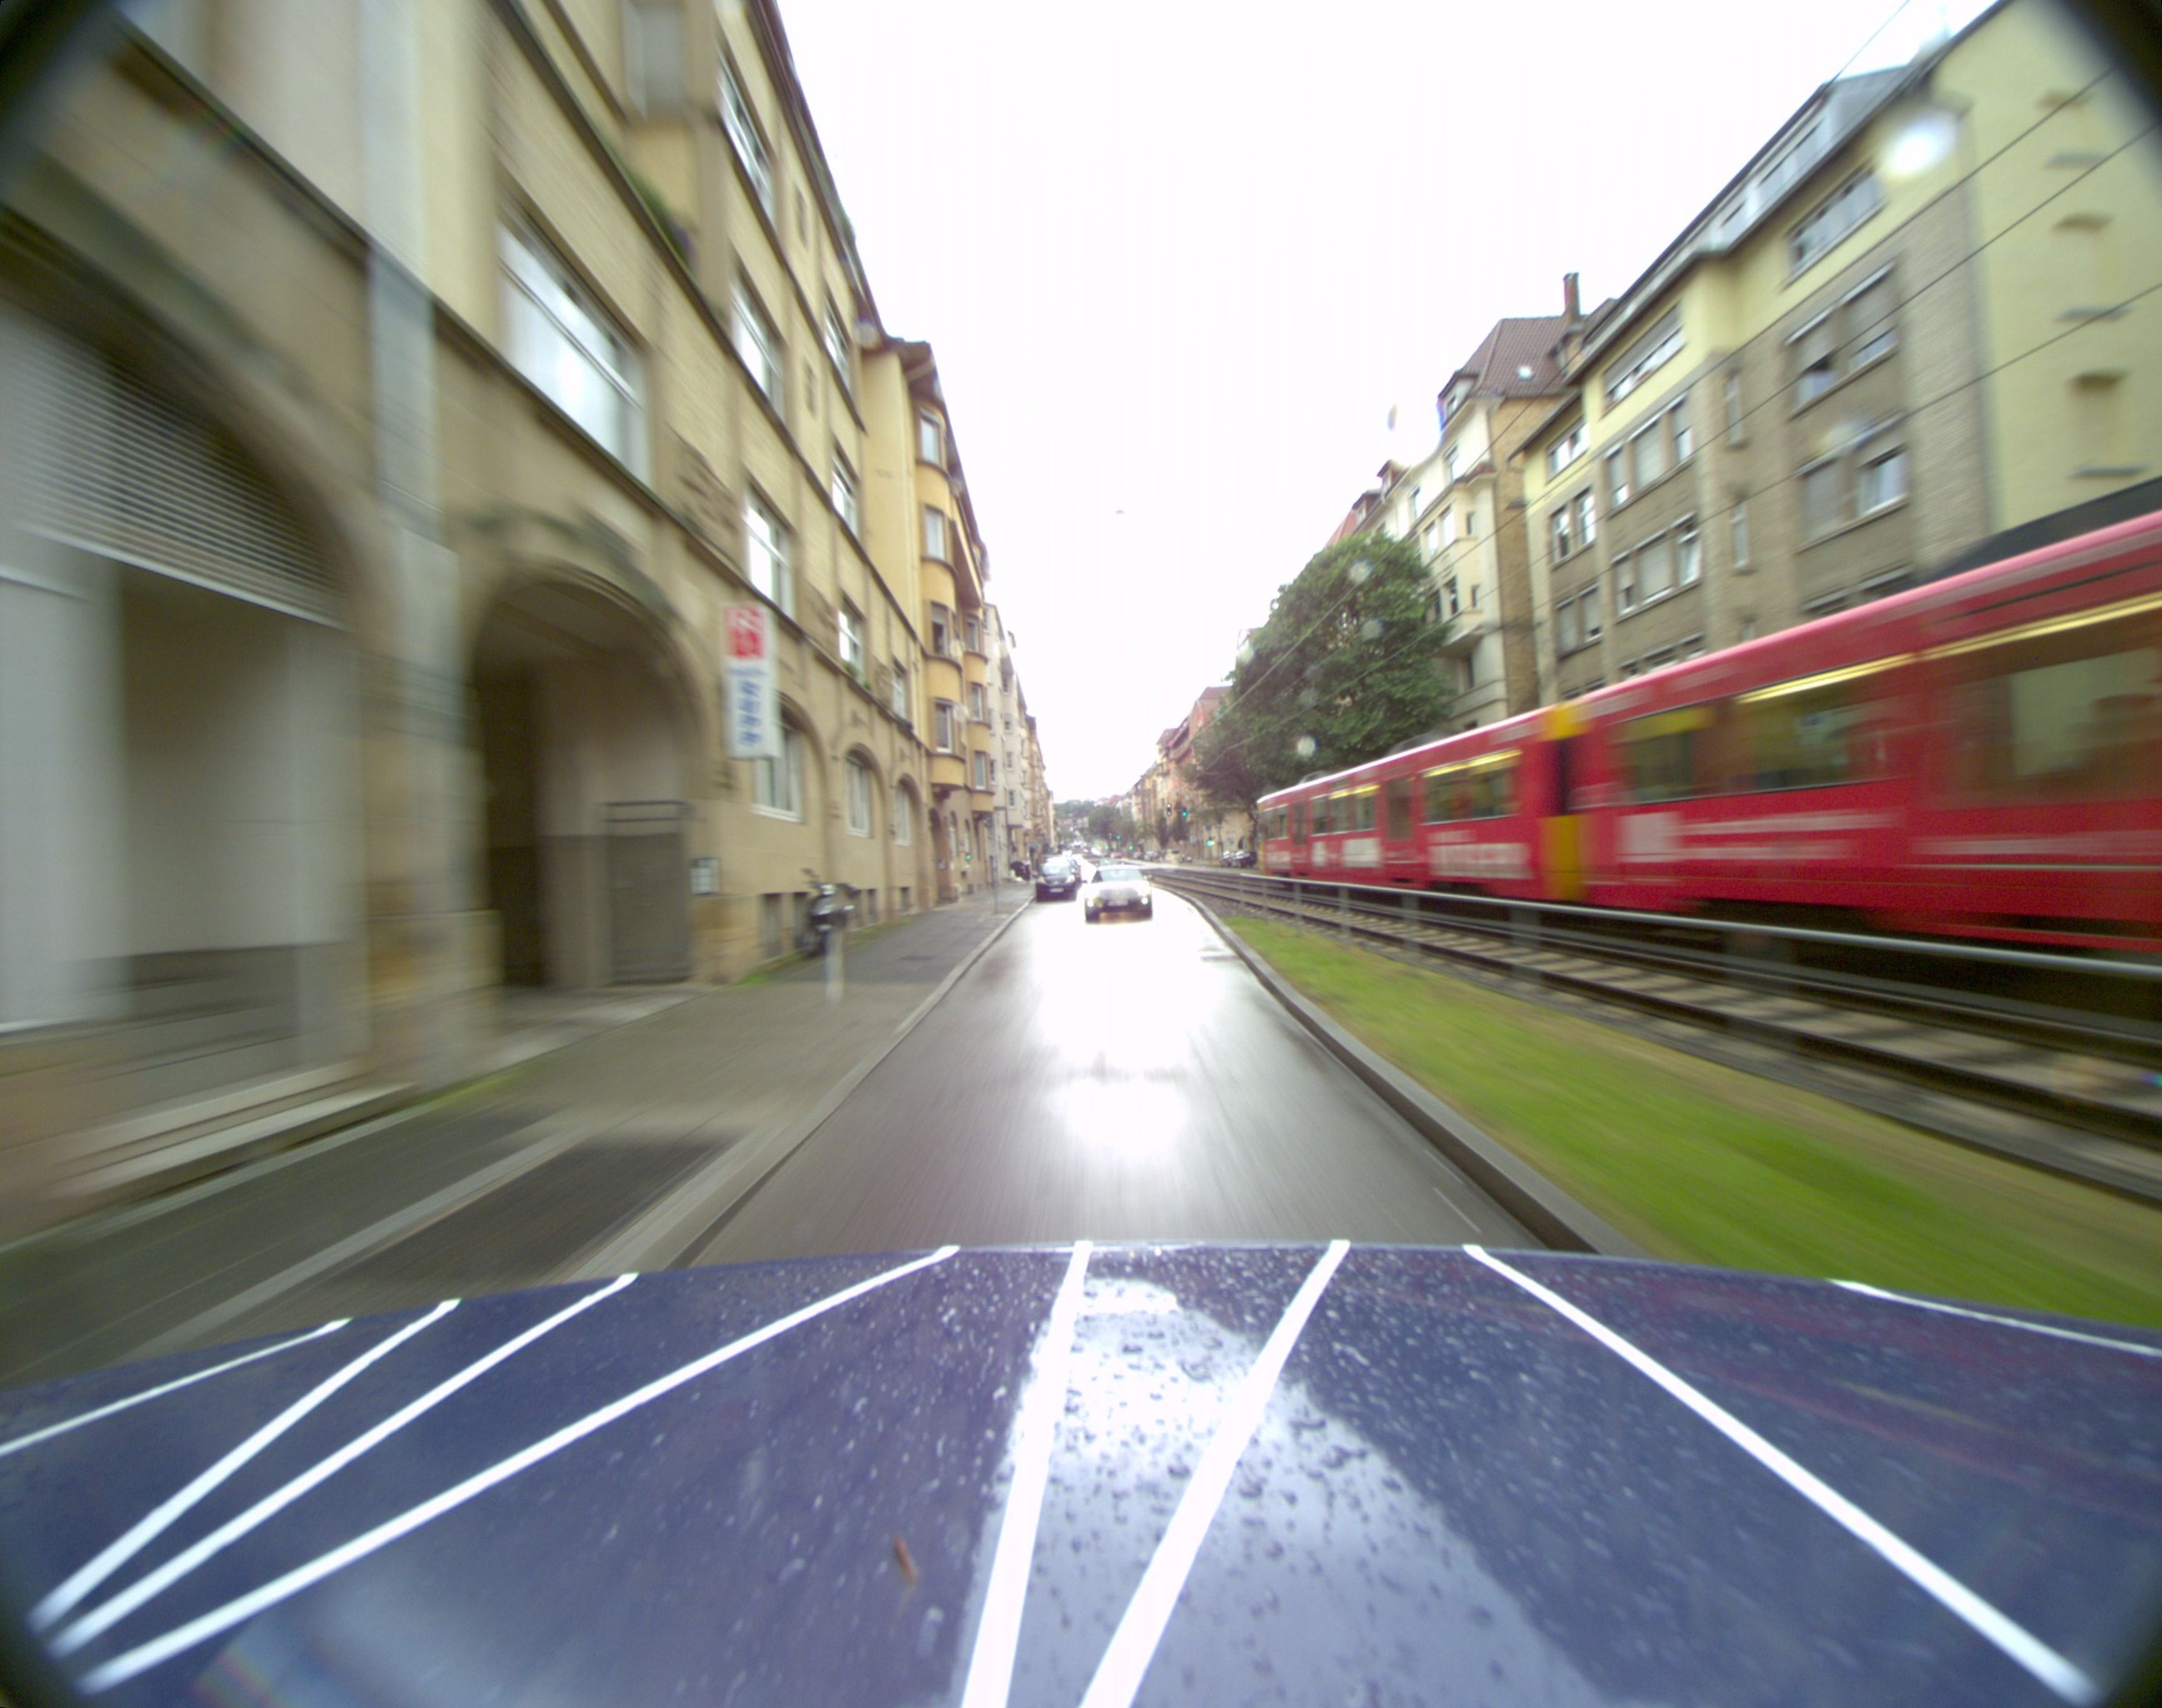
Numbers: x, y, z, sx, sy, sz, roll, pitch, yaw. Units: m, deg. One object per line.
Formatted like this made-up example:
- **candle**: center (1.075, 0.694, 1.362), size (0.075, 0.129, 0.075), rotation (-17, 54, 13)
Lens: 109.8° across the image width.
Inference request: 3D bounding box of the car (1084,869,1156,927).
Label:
- **car**: center (0.996, 1.120, 20.773), size (1.705, 1.280, 4.195), rotation (-2, 0, 1)

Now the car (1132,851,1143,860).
- **car**: center (12.103, 0.317, 164.025), size (1.999, 1.958, 4.000), rotation (-2, 0, -1)

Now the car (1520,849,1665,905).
- **car**: center (14.265, 0.594, 21.434), size (1.648, 1.395, 3.633), rotation (-2, 0, 1)

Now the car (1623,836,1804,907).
- **car**: center (14.671, 0.379, 17.848), size (1.648, 1.457, 3.111), rotation (-2, 0, 1)

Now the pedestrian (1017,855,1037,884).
- **pedestrian**: center (-3.309, 0.918, 46.342), size (1.125, 1.703, 1.101), rotation (-3, 0, -3)

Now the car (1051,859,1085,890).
- **car**: center (-0.660, 1.081, 41.801), size (1.648, 1.536, 4.028), rotation (-2, 0, 1)

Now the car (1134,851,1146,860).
- **car**: center (12.160, 0.320, 156.754), size (1.999, 1.958, 4.000), rotation (-2, 0, -1)

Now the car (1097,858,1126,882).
- **car**: center (1.889, 1.008, 48.322), size (1.690, 1.451, 3.299), rotation (-1, 0, 0)

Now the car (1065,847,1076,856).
- **car**: center (-2.106, -0.463, 157.355), size (1.998, 1.761, 4.000), rotation (-3, 0, 2)

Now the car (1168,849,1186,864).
- **car**: center (13.715, 0.350, 108.729), size (1.999, 1.958, 4.000), rotation (-2, 0, -1)

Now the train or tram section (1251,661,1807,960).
- **train or tram section**: center (8.200, -0.598, 19.847), size (2.722, 3.898, 19.295), rotation (-3, 0, -1)

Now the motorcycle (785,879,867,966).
- **motorcycle**: center (-4.114, 1.066, 12.402), size (0.692, 1.230, 1.779), rotation (3, 0, 0)

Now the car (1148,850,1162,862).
- **car**: center (12.976, 0.333, 133.338), size (1.999, 1.958, 4.000), rotation (-2, 0, -1)

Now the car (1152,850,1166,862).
- **car**: center (13.181, 0.333, 128.579), size (1.999, 1.958, 4.000), rotation (-2, 0, -1)

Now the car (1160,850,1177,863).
- **car**: center (13.345, 0.352, 116.252), size (1.999, 1.958, 4.000), rotation (-2, 0, -1)

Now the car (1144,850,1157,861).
- **car**: center (12.686, 0.333, 139.180), size (1.999, 1.958, 4.000), rotation (-2, 0, -1)

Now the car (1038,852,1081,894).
- **car**: center (-0.950, 0.824, 35.649), size (1.741, 1.787, 4.265), rotation (-2, 0, 1)

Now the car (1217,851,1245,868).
- **car**: center (13.915, 0.515, 70.492), size (1.649, 1.481, 4.165), rotation (-2, 0, -1)

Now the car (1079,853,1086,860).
- **car**: center (0.383, 0.735, 210.815), size (1.999, 1.958, 4.000), rotation (-2, 0, -1)

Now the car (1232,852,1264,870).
- **car**: center (14.091, 0.579, 64.317), size (1.719, 1.426, 4.165), rotation (-2, 0, -1)

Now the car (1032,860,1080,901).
- **car**: center (-0.916, 0.990, 30.056), size (1.633, 1.443, 4.000), rotation (-2, 0, 1)

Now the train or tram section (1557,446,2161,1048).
- **train or tram section**: center (8.452, -0.727, 1.056), size (2.722, 3.898, 19.859), rotation (-3, 0, -1)

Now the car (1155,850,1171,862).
- **car**: center (13.277, 0.340, 123.425), size (1.999, 1.958, 4.000), rotation (-2, 0, -1)
